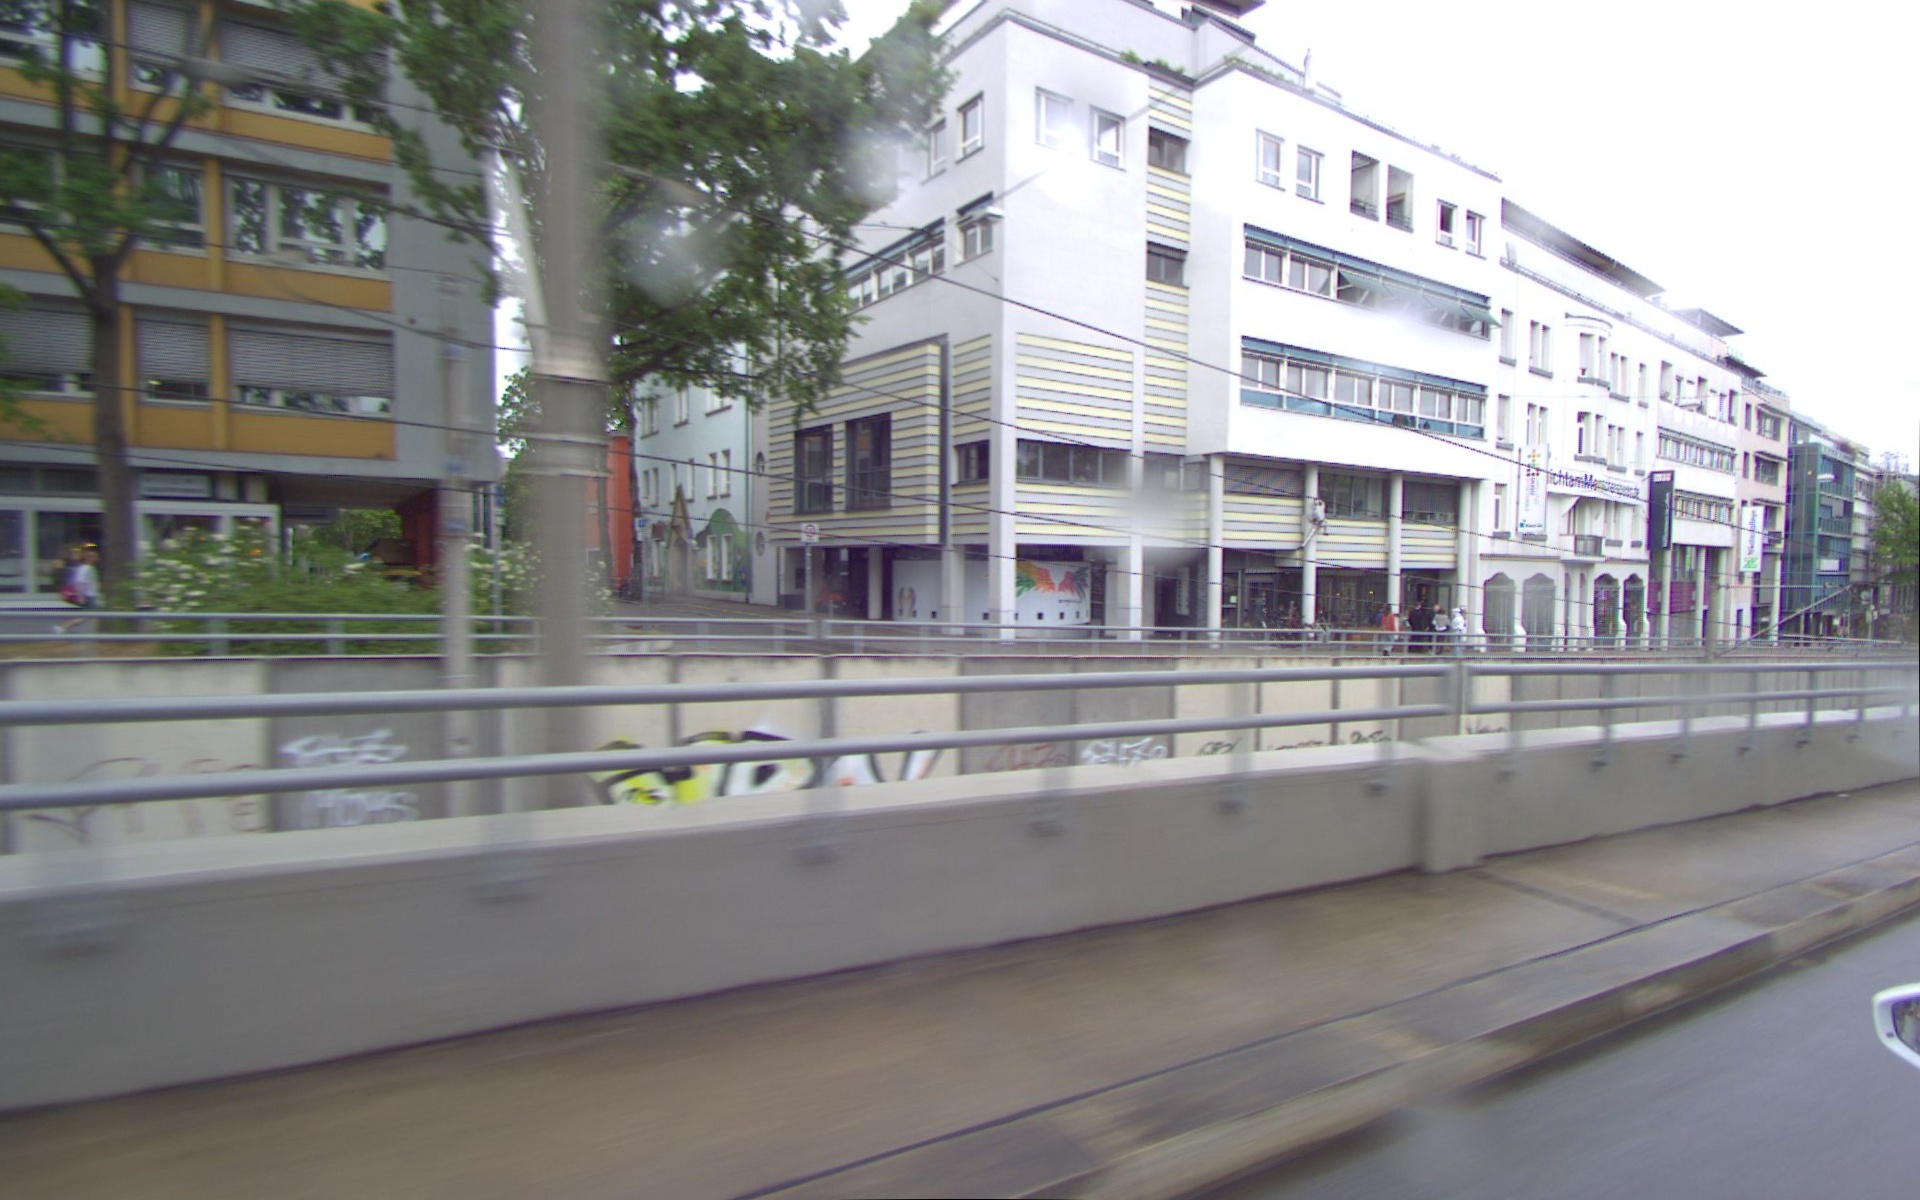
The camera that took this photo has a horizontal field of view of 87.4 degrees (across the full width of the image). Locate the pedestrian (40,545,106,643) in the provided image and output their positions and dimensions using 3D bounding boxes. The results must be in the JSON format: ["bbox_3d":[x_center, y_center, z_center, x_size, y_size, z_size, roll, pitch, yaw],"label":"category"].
[{"bbox_3d":[-17.257,-0.105,19.562,0.820,1.873,0.662,1,-1,-29],"label":"pedestrian"}]

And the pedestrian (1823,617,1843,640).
[{"bbox_3d":[75.512,2.444,86.890,0.945,1.893,0.863,2,1,-20],"label":"pedestrian"}]

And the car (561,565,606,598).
[{"bbox_3d":[-20.793,-1.026,55.344,1.652,1.706,4.036,1,1,-30],"label":"car"}]

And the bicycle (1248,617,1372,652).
[{"bbox_3d":[11.985,1.152,34.305,4.475,1.057,1.682,0,1,-35],"label":"bicycle"}]

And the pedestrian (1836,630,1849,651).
[{"bbox_3d":[73.509,3.400,83.646,0.484,1.694,0.659,2,1,-39],"label":"pedestrian"}]

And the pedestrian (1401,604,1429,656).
[{"bbox_3d":[16.192,1.055,35.722,0.663,1.809,0.939,3,1,37],"label":"pedestrian"}]

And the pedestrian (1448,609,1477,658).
[{"bbox_3d":[17.722,1.182,35.435,0.660,1.665,0.796,2,1,8],"label":"pedestrian"}]

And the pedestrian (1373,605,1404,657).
[{"bbox_3d":[13.945,1.005,32.686,0.663,1.638,0.939,3,1,37],"label":"pedestrian"}]

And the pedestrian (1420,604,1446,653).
[{"bbox_3d":[17.298,1.045,36.752,0.660,1.745,0.609,2,1,12],"label":"pedestrian"}]

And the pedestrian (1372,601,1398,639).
[{"bbox_3d":[16.327,0.766,38.586,0.666,1.438,0.603,1,1,-34],"label":"pedestrian"}]
